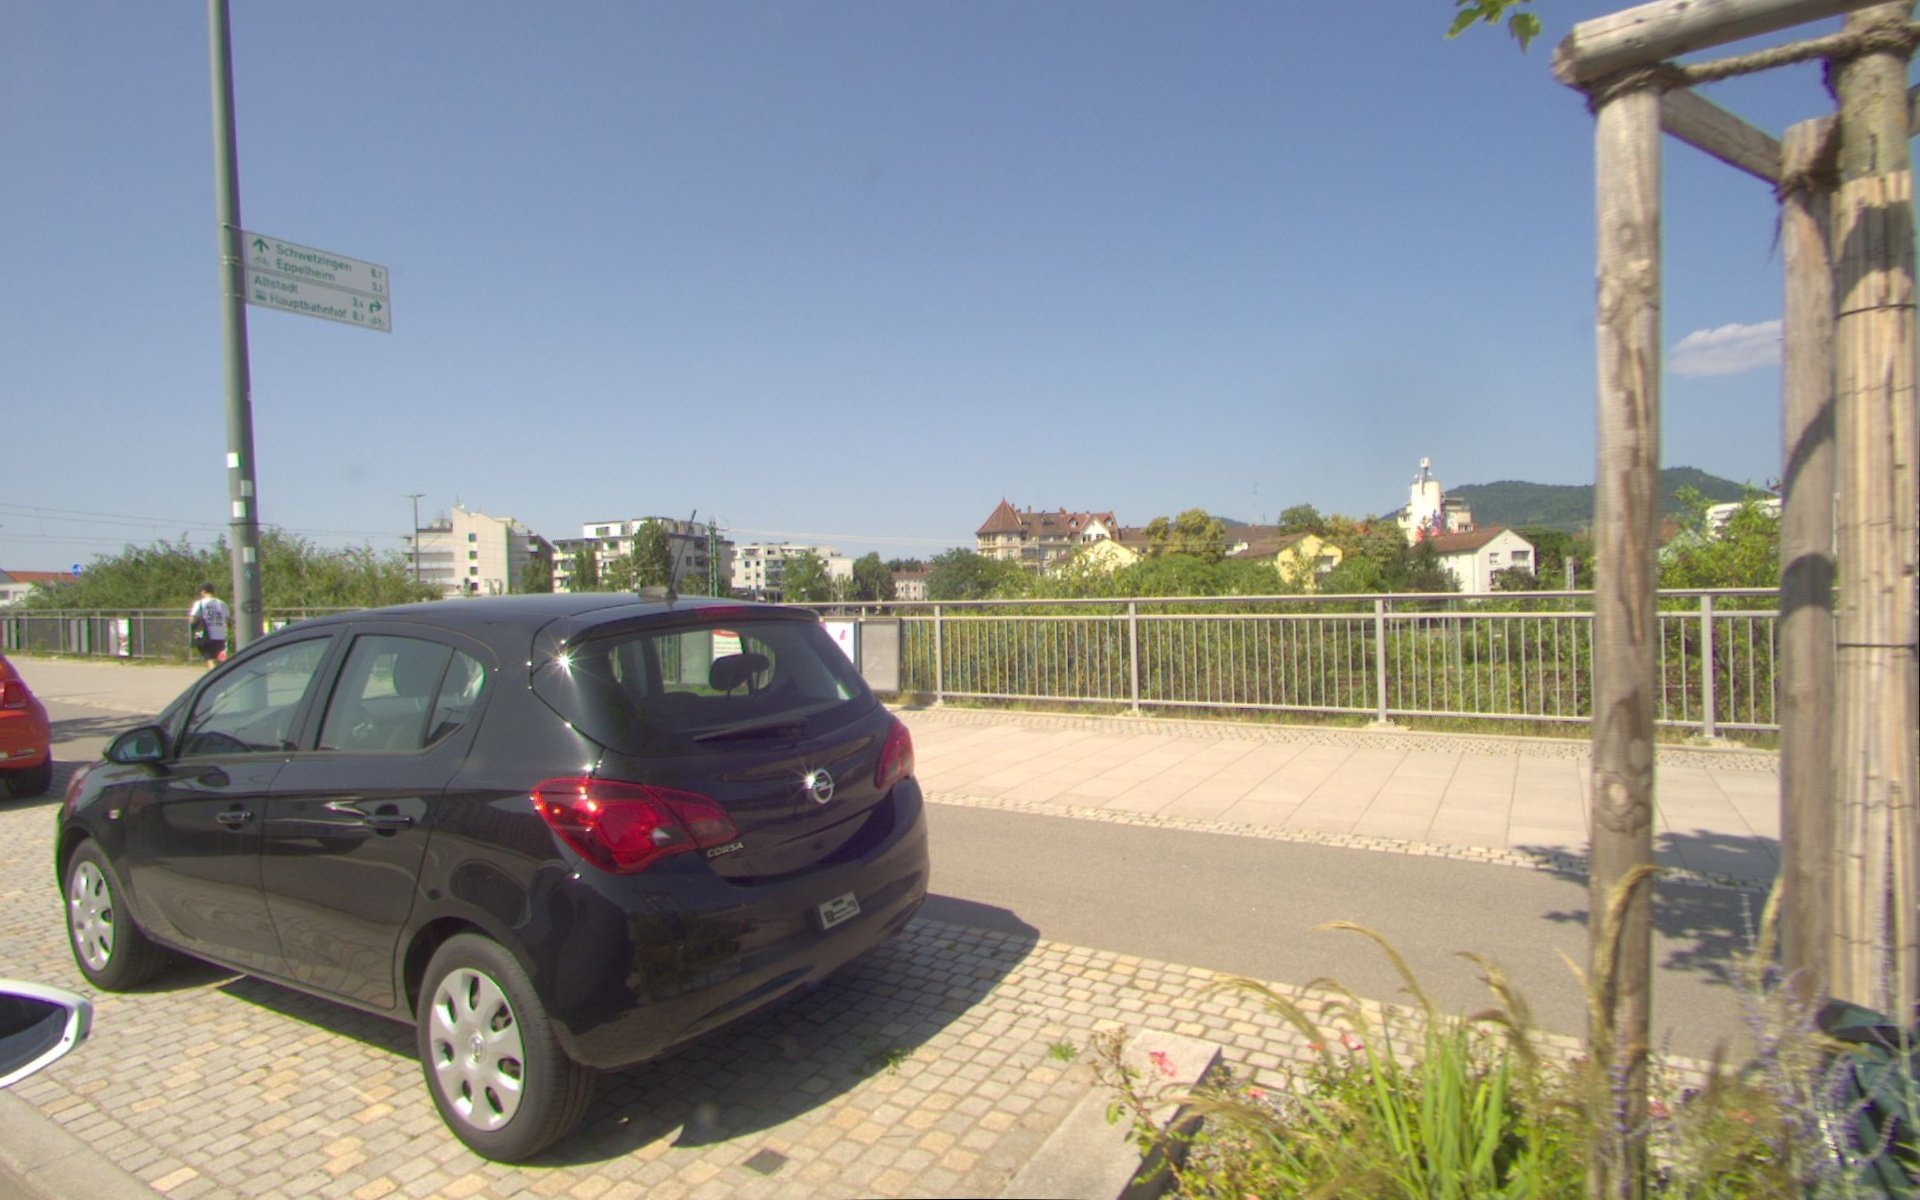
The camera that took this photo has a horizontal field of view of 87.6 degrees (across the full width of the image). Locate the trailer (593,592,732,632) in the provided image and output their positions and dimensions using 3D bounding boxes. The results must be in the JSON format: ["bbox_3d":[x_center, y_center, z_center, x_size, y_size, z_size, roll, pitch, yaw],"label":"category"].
[{"bbox_3d":[-27.442,1.271,94.167,3.674,3.243,17.243,-1,-2,17],"label":"trailer"}]

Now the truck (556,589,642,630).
[{"bbox_3d":[-30.348,0.888,84.545,3.672,3.244,6.485,-1,-2,17],"label":"truck"}]

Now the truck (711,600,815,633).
[{"bbox_3d":[-21.901,2.045,113.316,3.674,3.243,17.875,-1,-2,17],"label":"truck"}]

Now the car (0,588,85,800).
[{"bbox_3d":[-8.940,0.722,8.131,3.860,1.561,1.666,0,2,32],"label":"car"}]

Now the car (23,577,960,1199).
[{"bbox_3d":[-1.907,0.747,3.863,3.495,1.577,1.577,0,2,32],"label":"car"}]

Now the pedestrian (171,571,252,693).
[{"bbox_3d":[-11.761,0.504,15.739,0.872,1.853,0.757,-1,-2,32],"label":"pedestrian"}]
